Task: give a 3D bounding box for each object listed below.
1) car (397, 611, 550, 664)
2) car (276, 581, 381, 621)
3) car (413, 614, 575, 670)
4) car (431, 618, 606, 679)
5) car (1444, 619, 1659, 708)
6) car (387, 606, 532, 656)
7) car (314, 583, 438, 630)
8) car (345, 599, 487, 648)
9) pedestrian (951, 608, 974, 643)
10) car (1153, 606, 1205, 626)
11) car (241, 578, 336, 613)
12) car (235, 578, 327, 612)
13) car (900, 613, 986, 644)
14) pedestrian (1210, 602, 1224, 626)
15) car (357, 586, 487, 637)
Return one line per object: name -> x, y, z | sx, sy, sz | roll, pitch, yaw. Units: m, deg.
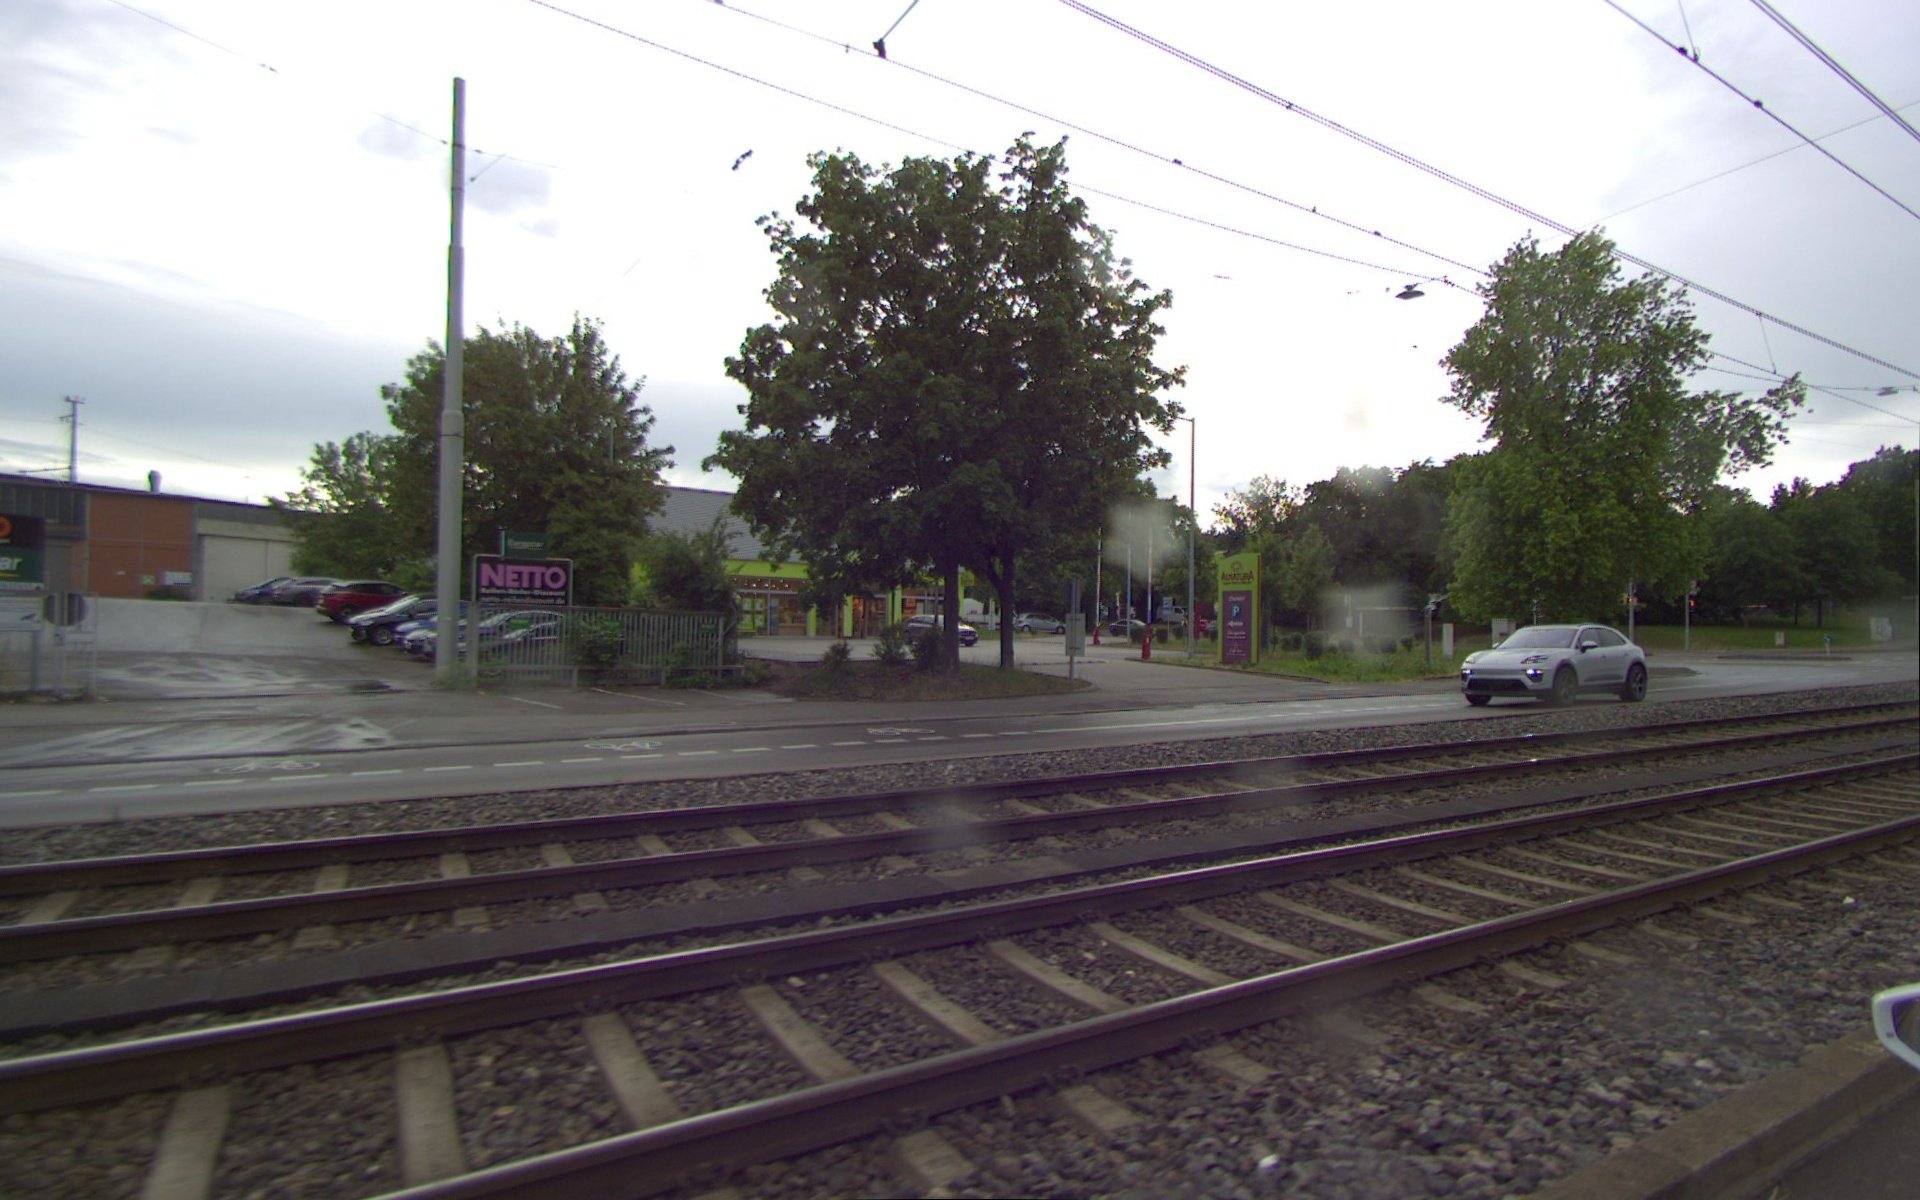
car -> -15.102, 1.170, 31.267 | 3.966, 1.476, 1.673 | 3, -1, -39
car -> -29.456, 0.058, 46.910 | 3.966, 1.639, 1.673 | 3, -1, -39
car -> -13.515, 1.240, 29.217 | 3.966, 1.476, 1.673 | 3, -1, -39
car -> -11.802, 1.318, 26.962 | 3.966, 1.476, 1.673 | 3, -1, -39
car -> 12.411, 1.281, 20.984 | 4.709, 1.671, 1.982 | 1, -3, -33
car -> -16.429, 1.036, 33.057 | 3.966, 1.476, 1.673 | 3, -1, -39
car -> -22.973, 0.262, 39.592 | 3.966, 1.639, 1.673 | 3, -1, -39
car -> -18.460, 0.803, 34.157 | 3.966, 1.476, 1.673 | 3, -1, -39
pedestrian -> 0.105, 1.233, 48.373 | 0.750, 1.618, 0.797 | 3, -1, -30
car -> 21.925, 1.544, 100.723 | 1.981, 1.829, 5.095 | 3, -1, -36
car -> -35.191, -0.212, 52.669 | 3.967, 1.633, 1.850 | 3, -1, -40
car -> -36.998, -0.269, 54.733 | 3.967, 1.633, 1.850 | 3, -1, -40
car -> -0.854, 1.309, 46.676 | 1.759, 1.363, 4.332 | 2, -1, -37
pedestrian -> 17.674, 0.990, 69.140 | 0.598, 1.623, 0.674 | 3, -1, -24
car -> -19.778, 0.444, 37.000 | 3.966, 1.673, 1.673 | 3, -1, -39
